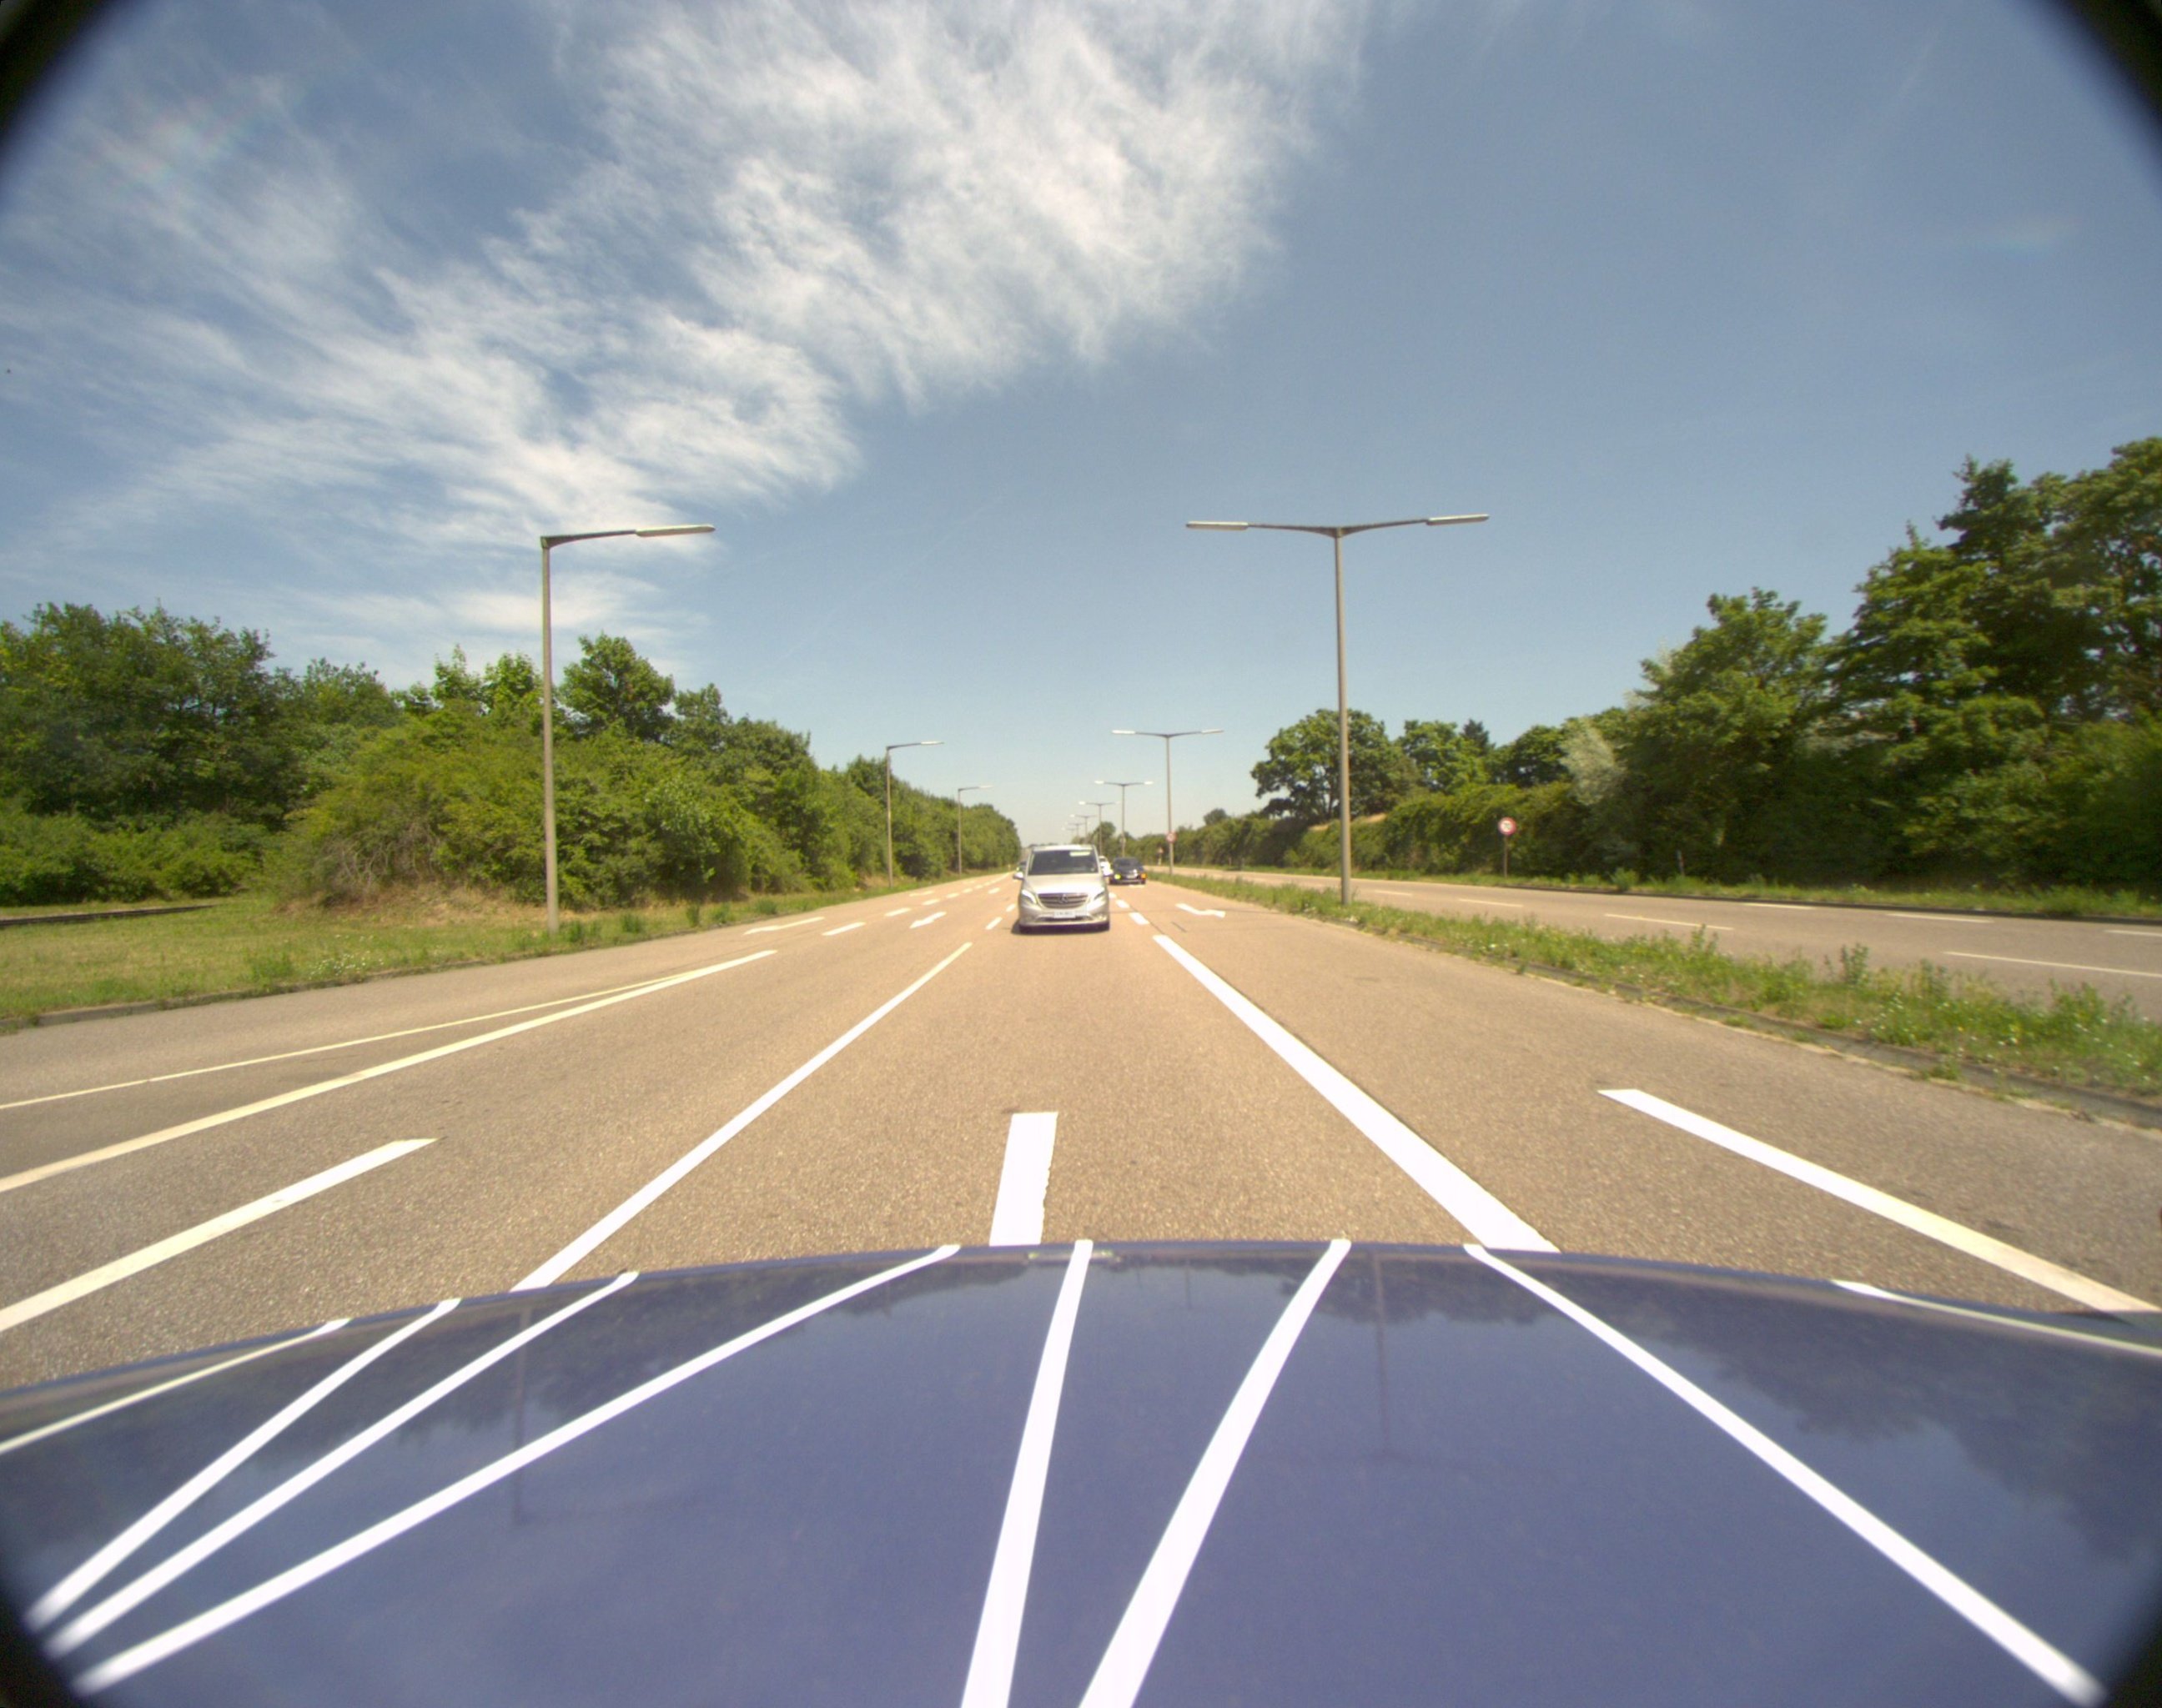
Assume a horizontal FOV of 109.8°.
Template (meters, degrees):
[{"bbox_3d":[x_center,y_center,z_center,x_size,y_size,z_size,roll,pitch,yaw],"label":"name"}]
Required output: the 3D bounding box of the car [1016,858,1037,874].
[{"bbox_3d":[-5.818,1.281,81.315,1.722,1.587,4.001,-1,0,2],"label":"car"}]

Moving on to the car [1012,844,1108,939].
[{"bbox_3d":[-0.352,0.756,18.043,1.876,1.865,5.732,-1,0,1],"label":"car"}]

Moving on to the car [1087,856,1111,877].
[{"bbox_3d":[1.499,1.059,65.944,1.921,1.661,4.001,-1,1,-1],"label":"car"}]

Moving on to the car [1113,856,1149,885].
[{"bbox_3d":[2.770,0.908,43.081,1.753,1.491,4.000,-2,0,0],"label":"car"}]
